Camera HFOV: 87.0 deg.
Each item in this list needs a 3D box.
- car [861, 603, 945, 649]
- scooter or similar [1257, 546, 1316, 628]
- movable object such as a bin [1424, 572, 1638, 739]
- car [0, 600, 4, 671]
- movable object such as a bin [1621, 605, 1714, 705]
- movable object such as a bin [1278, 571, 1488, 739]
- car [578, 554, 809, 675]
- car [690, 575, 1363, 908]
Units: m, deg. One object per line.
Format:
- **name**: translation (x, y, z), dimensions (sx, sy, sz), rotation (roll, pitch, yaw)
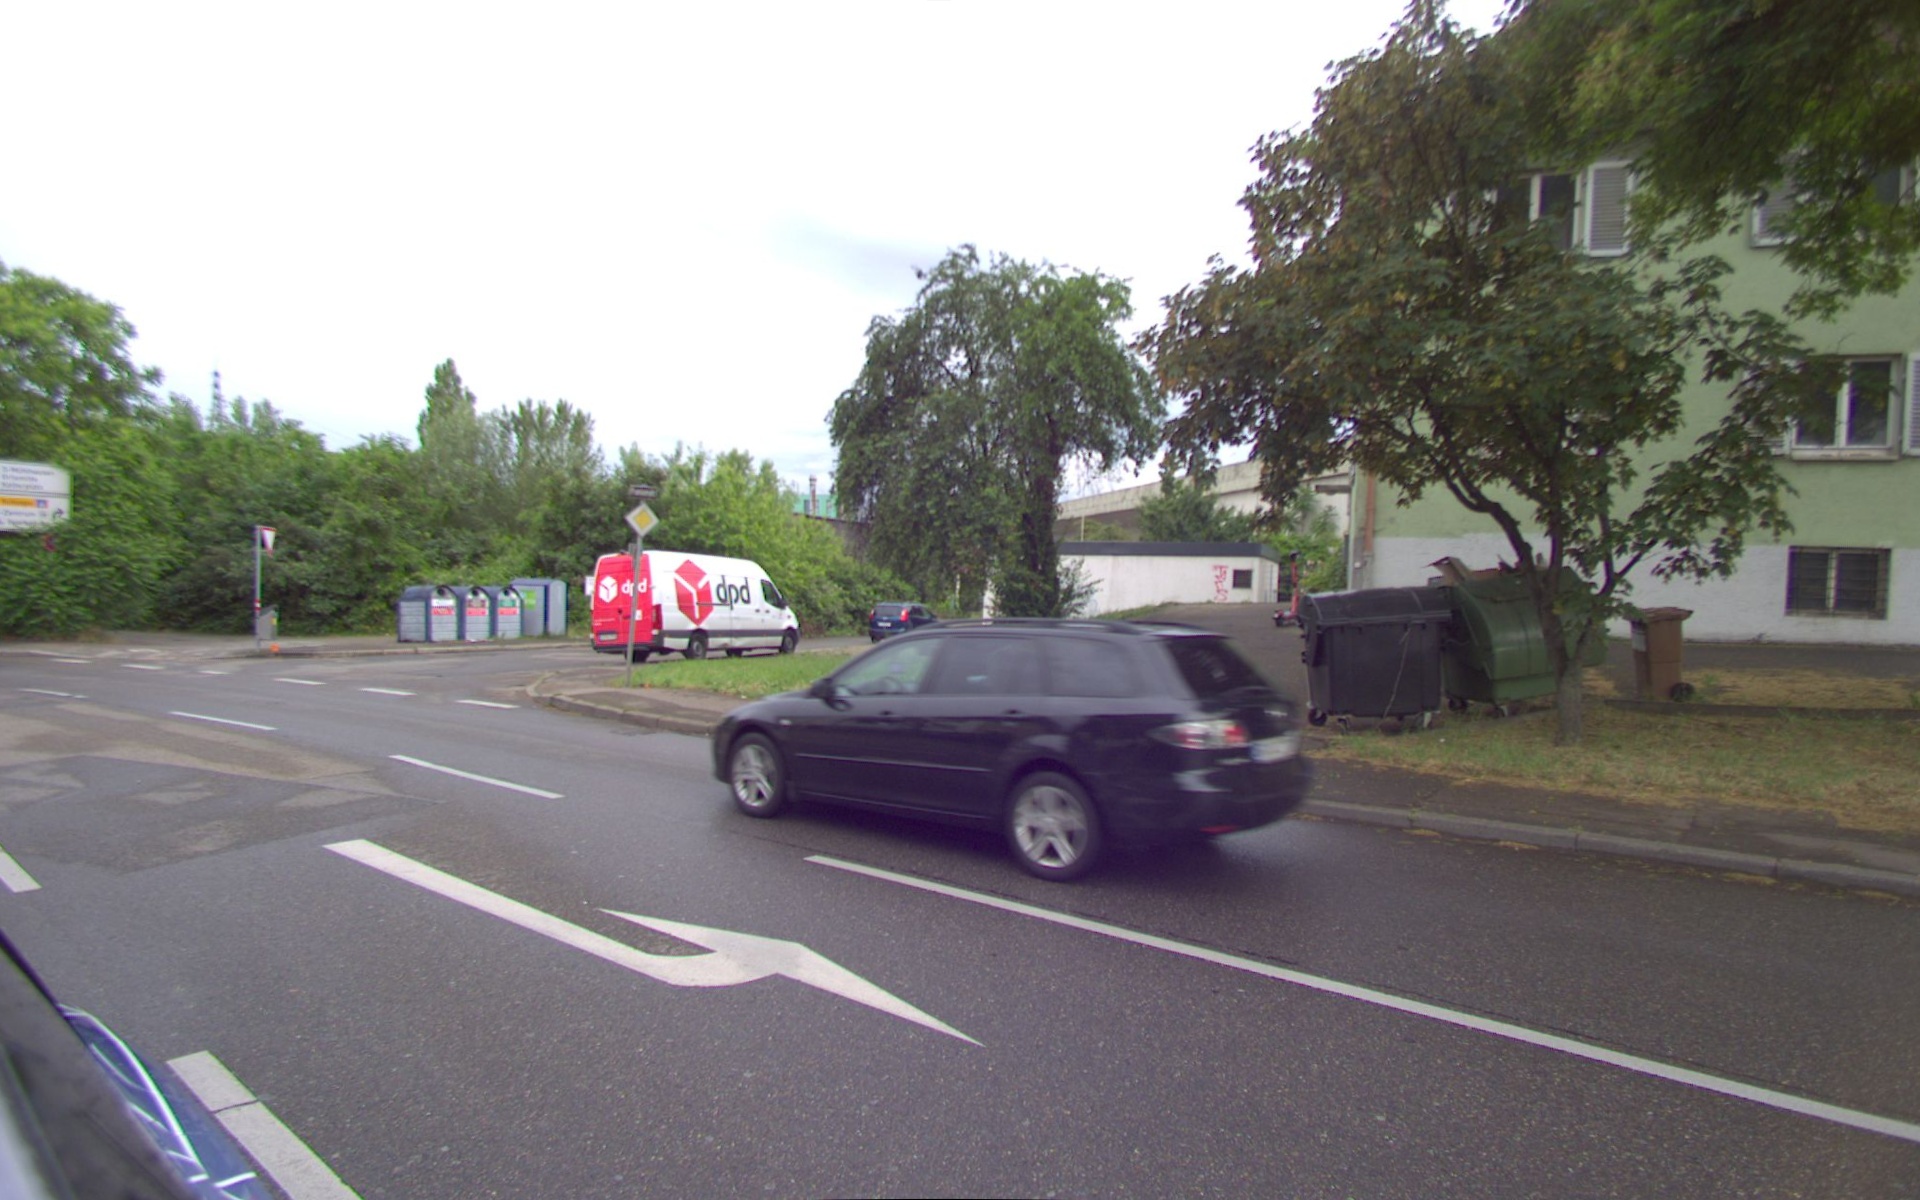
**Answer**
- **car**: translation (-2.214, 0.992, 40.390), dimensions (1.984, 1.642, 4.228), rotation (1, 1, 18)
- **scooter or similar**: translation (5.539, -0.240, 17.127), dimensions (0.529, 1.283, 1.507), rotation (1, 4, 35)
- **movable object such as a bin**: translation (5.718, 0.512, 10.212), dimensions (1.440, 1.448, 1.102), rotation (-5, 3, -6)
- **car**: translation (-21.217, 0.718, 20.453), dimensions (3.677, 1.436, 1.589), rotation (0, 0, 26)
- **movable object such as a bin**: translation (7.220, 0.535, 10.327), dimensions (0.723, 0.964, 0.551), rotation (1, 0, 41)
- **movable object such as a bin**: translation (4.263, 0.503, 10.321), dimensions (1.440, 1.448, 1.296), rotation (-5, 3, -6)
- **car**: translation (-6.496, 0.298, 25.900), dimensions (2.246, 2.675, 6.777), rotation (1, 0, 20)
- **car**: translation (0.214, 0.688, 6.947), dimensions (4.409, 1.581, 1.823), rotation (0, -1, 40)
